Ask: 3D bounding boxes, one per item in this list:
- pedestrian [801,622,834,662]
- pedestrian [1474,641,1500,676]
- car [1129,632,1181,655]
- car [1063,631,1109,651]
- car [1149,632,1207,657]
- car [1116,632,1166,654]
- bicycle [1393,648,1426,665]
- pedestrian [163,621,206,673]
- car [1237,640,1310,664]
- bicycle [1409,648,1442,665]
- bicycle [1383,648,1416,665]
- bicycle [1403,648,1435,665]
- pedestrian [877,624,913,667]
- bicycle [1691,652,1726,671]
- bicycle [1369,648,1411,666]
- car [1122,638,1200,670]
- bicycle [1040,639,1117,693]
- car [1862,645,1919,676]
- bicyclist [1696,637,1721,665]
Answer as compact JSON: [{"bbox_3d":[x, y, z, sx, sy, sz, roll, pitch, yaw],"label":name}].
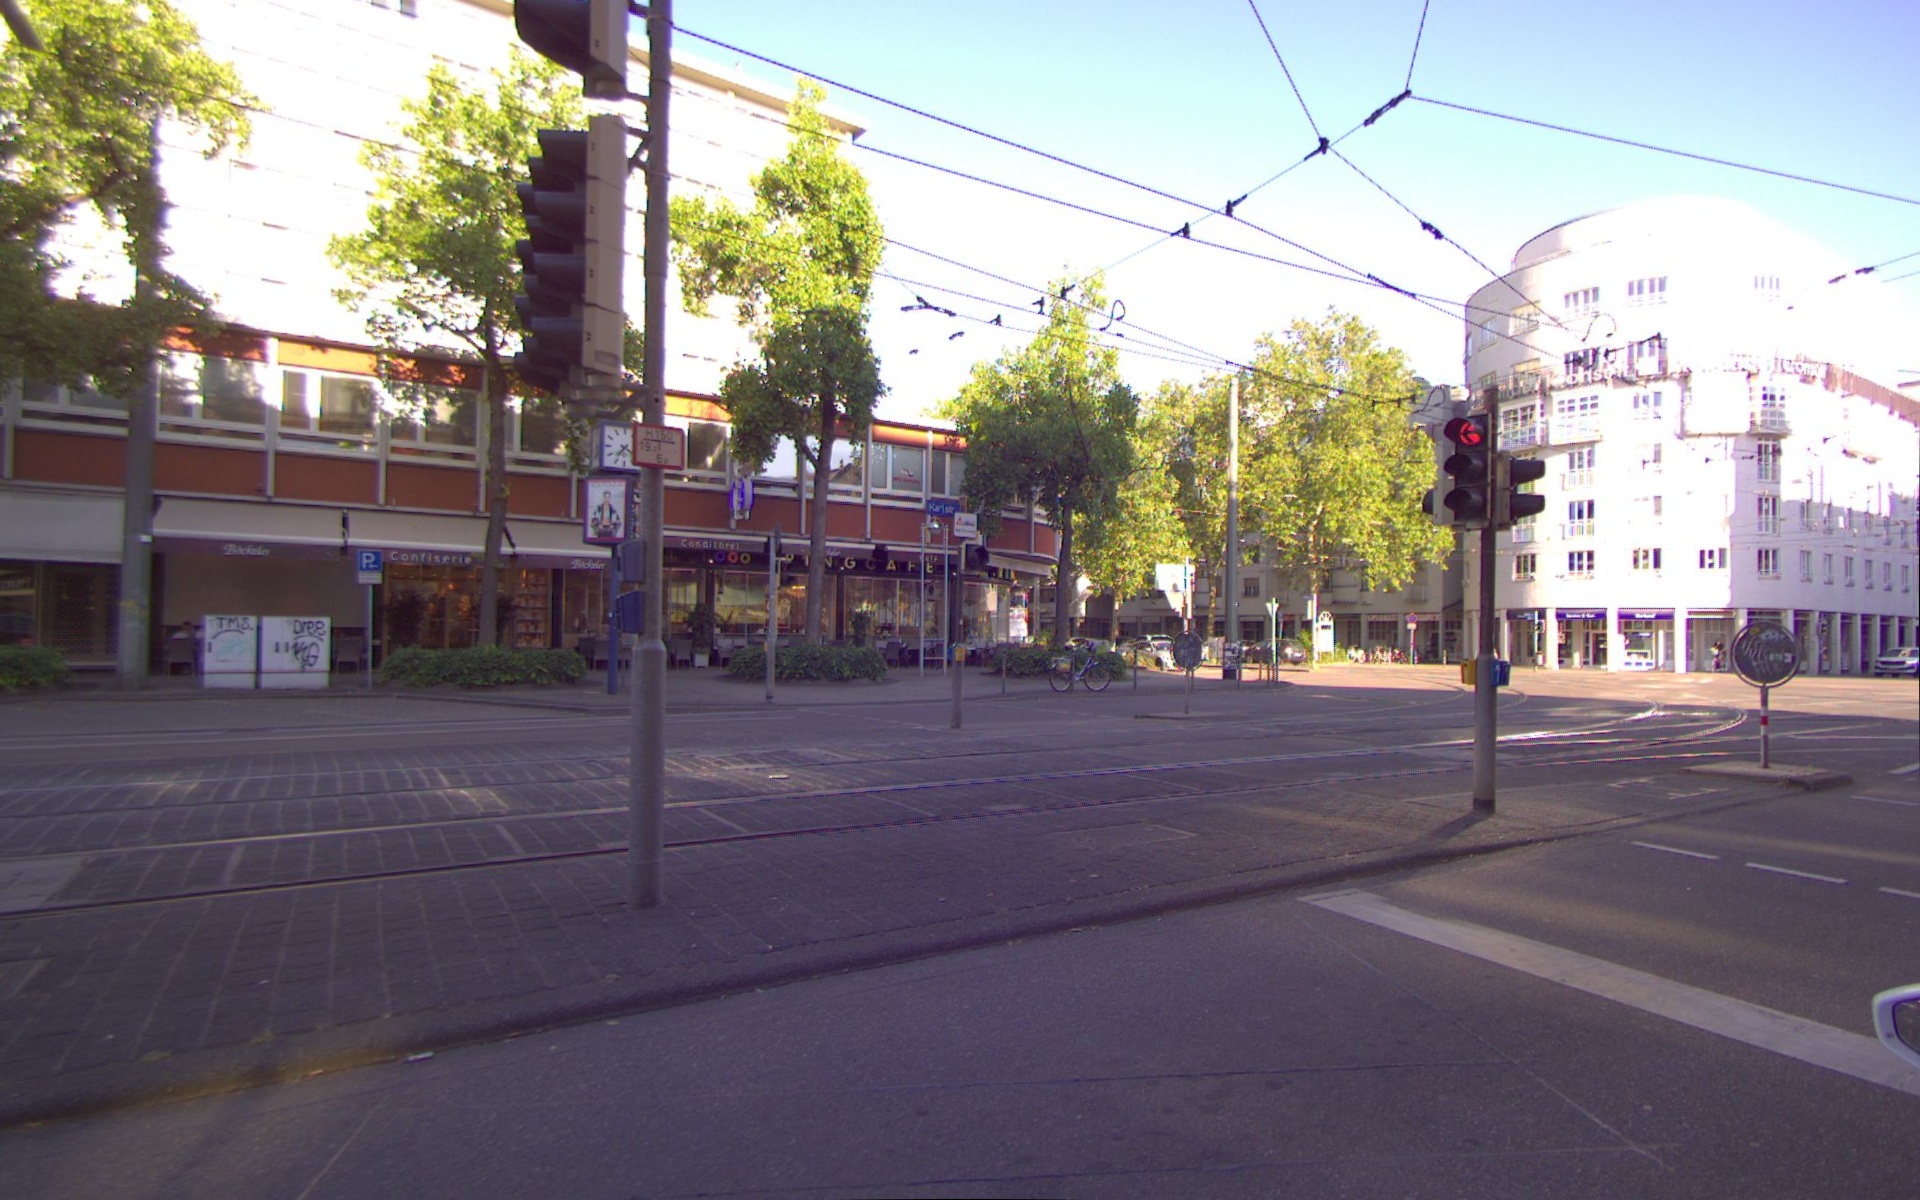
[{"bbox_3d":[-4.567,1.343,32.164,0.892,1.279,0.837,1,-2,-17],"label":"pedestrian"},{"bbox_3d":[26.211,2.890,49.980,0.687,1.704,0.866,-1,-2,-24],"label":"pedestrian"},{"bbox_3d":[15.674,3.475,80.646,3.959,1.738,1.783,2,-2,-34],"label":"car"},{"bbox_3d":[11.419,3.738,90.865,3.959,1.738,1.783,2,-2,-34],"label":"car"},{"bbox_3d":[15.557,3.169,71.580,3.959,1.738,1.783,2,-2,-34],"label":"car"},{"bbox_3d":[14.932,3.551,82.734,3.959,1.738,1.783,2,-2,-34],"label":"car"},{"bbox_3d":[30.163,3.786,67.405,0.808,1.122,1.935,1,-2,-27],"label":"bicycle"},{"bbox_3d":[-18.053,1.080,23.397,0.721,1.187,0.771,2,-2,-35],"label":"pedestrian"},{"bbox_3d":[19.999,3.294,64.244,1.867,1.439,4.424,1,-3,-28],"label":"car"},{"bbox_3d":[31.816,3.838,68.679,0.809,1.122,1.933,1,-2,-29],"label":"bicycle"},{"bbox_3d":[29.300,3.763,66.946,0.808,1.122,1.935,1,-2,-27],"label":"bicycle"},{"bbox_3d":[31.132,3.816,68.154,0.809,1.122,1.933,1,-2,-29],"label":"bicycle"},{"bbox_3d":[-2.185,1.528,33.649,0.880,1.414,0.929,2,-2,-31],"label":"pedestrian"},{"bbox_3d":[40.010,3.282,53.659,2.242,0.939,0.835,2,-2,-35],"label":"bicycle"},{"bbox_3d":[28.134,3.705,65.727,2.411,1.122,0.932,-1,-2,45],"label":"bicycle"},{"bbox_3d":[9.600,2.568,48.322,1.860,1.439,4.443,1,-3,-15],"label":"car"},{"bbox_3d":[2.912,1.606,24.591,1.833,1.251,0.578,2,-1,-27],"label":"bicycle"},{"bbox_3d":[51.750,3.313,55.325,4.462,1.641,1.982,2,-2,-33],"label":"car"},{"bbox_3d":[39.990,2.727,53.645,0.887,1.486,0.836,2,-2,-34],"label":"bicyclist"}]
